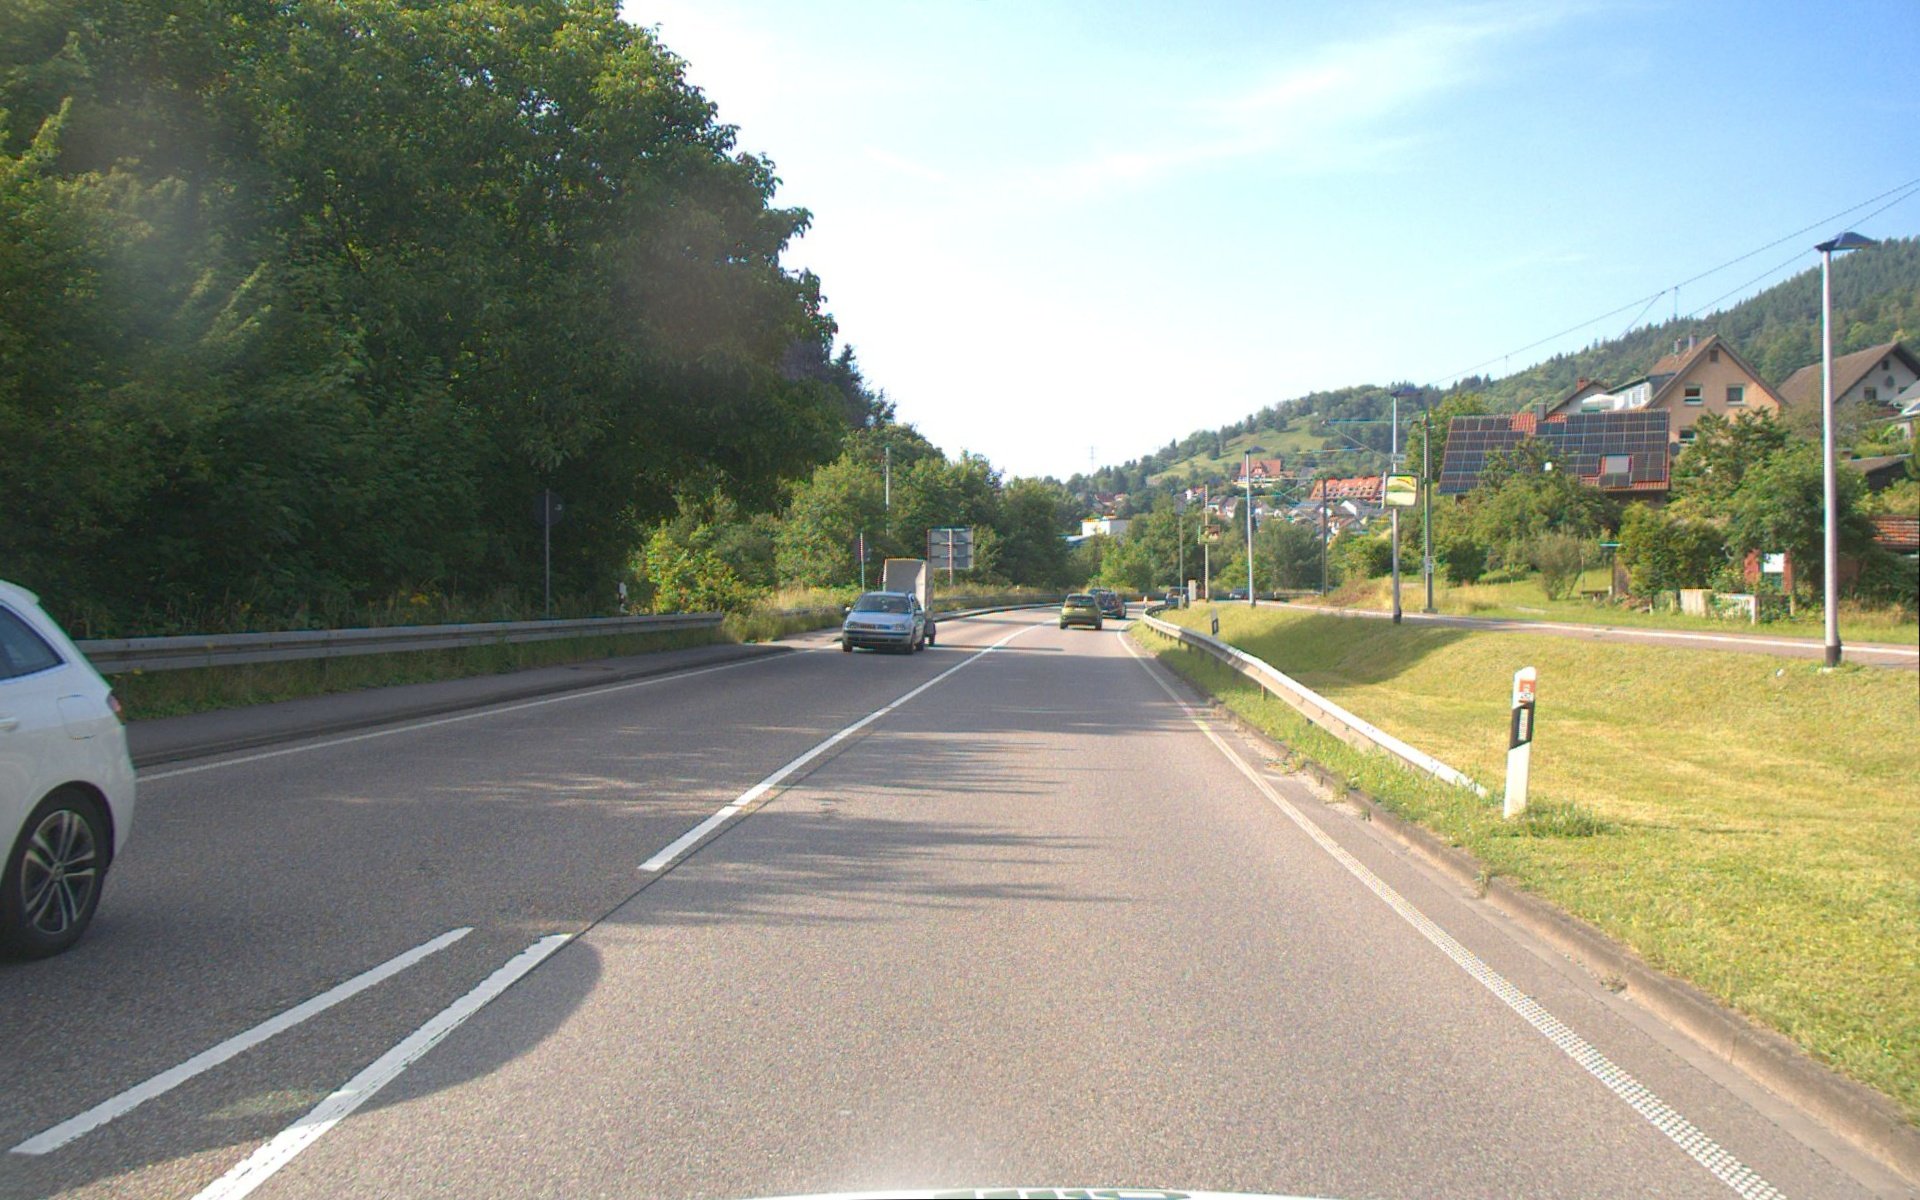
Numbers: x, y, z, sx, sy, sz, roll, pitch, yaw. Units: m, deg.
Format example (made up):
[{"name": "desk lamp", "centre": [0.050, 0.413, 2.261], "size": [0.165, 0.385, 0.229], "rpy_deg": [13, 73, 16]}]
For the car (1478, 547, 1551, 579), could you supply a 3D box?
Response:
[{"name": "car", "centre": [32.086, -2.149, 95.667], "size": [3.904, 1.713, 2.001], "rpy_deg": [-1, 0, 20]}]

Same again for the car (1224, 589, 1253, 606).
[{"name": "car", "centre": [24.643, -0.228, 146.265], "size": [1.771, 1.433, 3.774], "rpy_deg": [-1, 0, 20]}]

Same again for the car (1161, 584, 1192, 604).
[{"name": "car", "centre": [16.216, -0.464, 123.763], "size": [1.768, 1.478, 3.649], "rpy_deg": [-1, 0, 17]}]

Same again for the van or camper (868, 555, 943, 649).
[{"name": "van or camper", "centre": [-1.456, 0.031, 45.146], "size": [1.569, 2.369, 4.061], "rpy_deg": [2, 1, 4]}]

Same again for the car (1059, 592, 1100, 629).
[{"name": "car", "centre": [5.105, 0.418, 70.416], "size": [1.692, 1.482, 3.412], "rpy_deg": [-1, 0, 4]}]

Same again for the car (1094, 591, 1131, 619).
[{"name": "car", "centre": [8.527, 0.266, 92.323], "size": [1.801, 1.485, 3.716], "rpy_deg": [-1, 0, 8]}]

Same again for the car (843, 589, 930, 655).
[{"name": "car", "centre": [-1.759, 0.489, 40.807], "size": [1.614, 1.461, 4.608], "rpy_deg": [2, 1, 4]}]

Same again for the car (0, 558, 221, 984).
[{"name": "car", "centre": [-4.380, 0.592, 5.136], "size": [1.904, 1.512, 4.587], "rpy_deg": [1, 1, 3]}]
